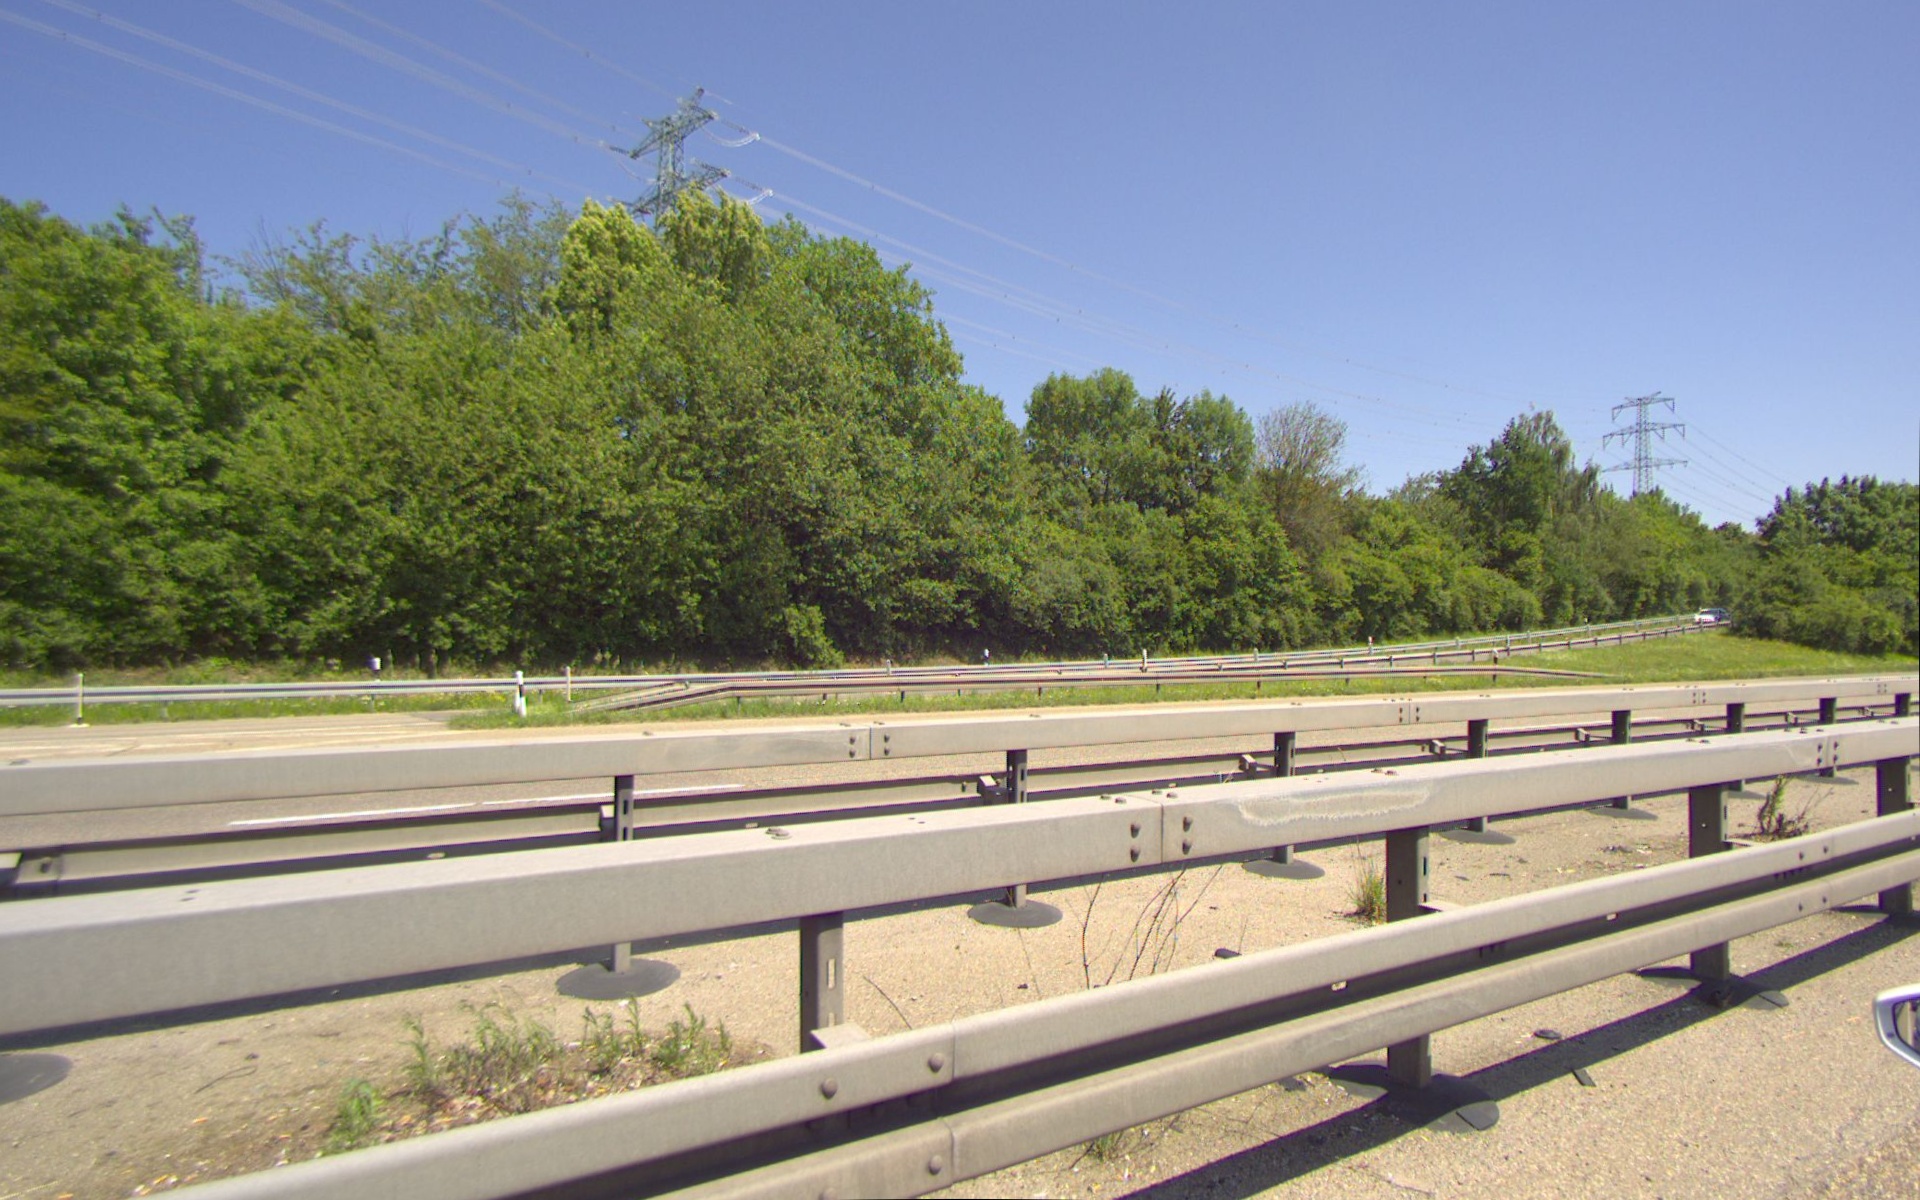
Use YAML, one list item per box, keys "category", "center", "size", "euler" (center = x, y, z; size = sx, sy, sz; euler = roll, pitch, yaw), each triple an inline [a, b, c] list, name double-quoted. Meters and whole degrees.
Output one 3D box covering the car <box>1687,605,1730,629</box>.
- category: "car"
  center: [60.910, 1.355, 81.712]
  size: [4.858, 1.697, 1.621]
  euler: [-3, 3, -39]
